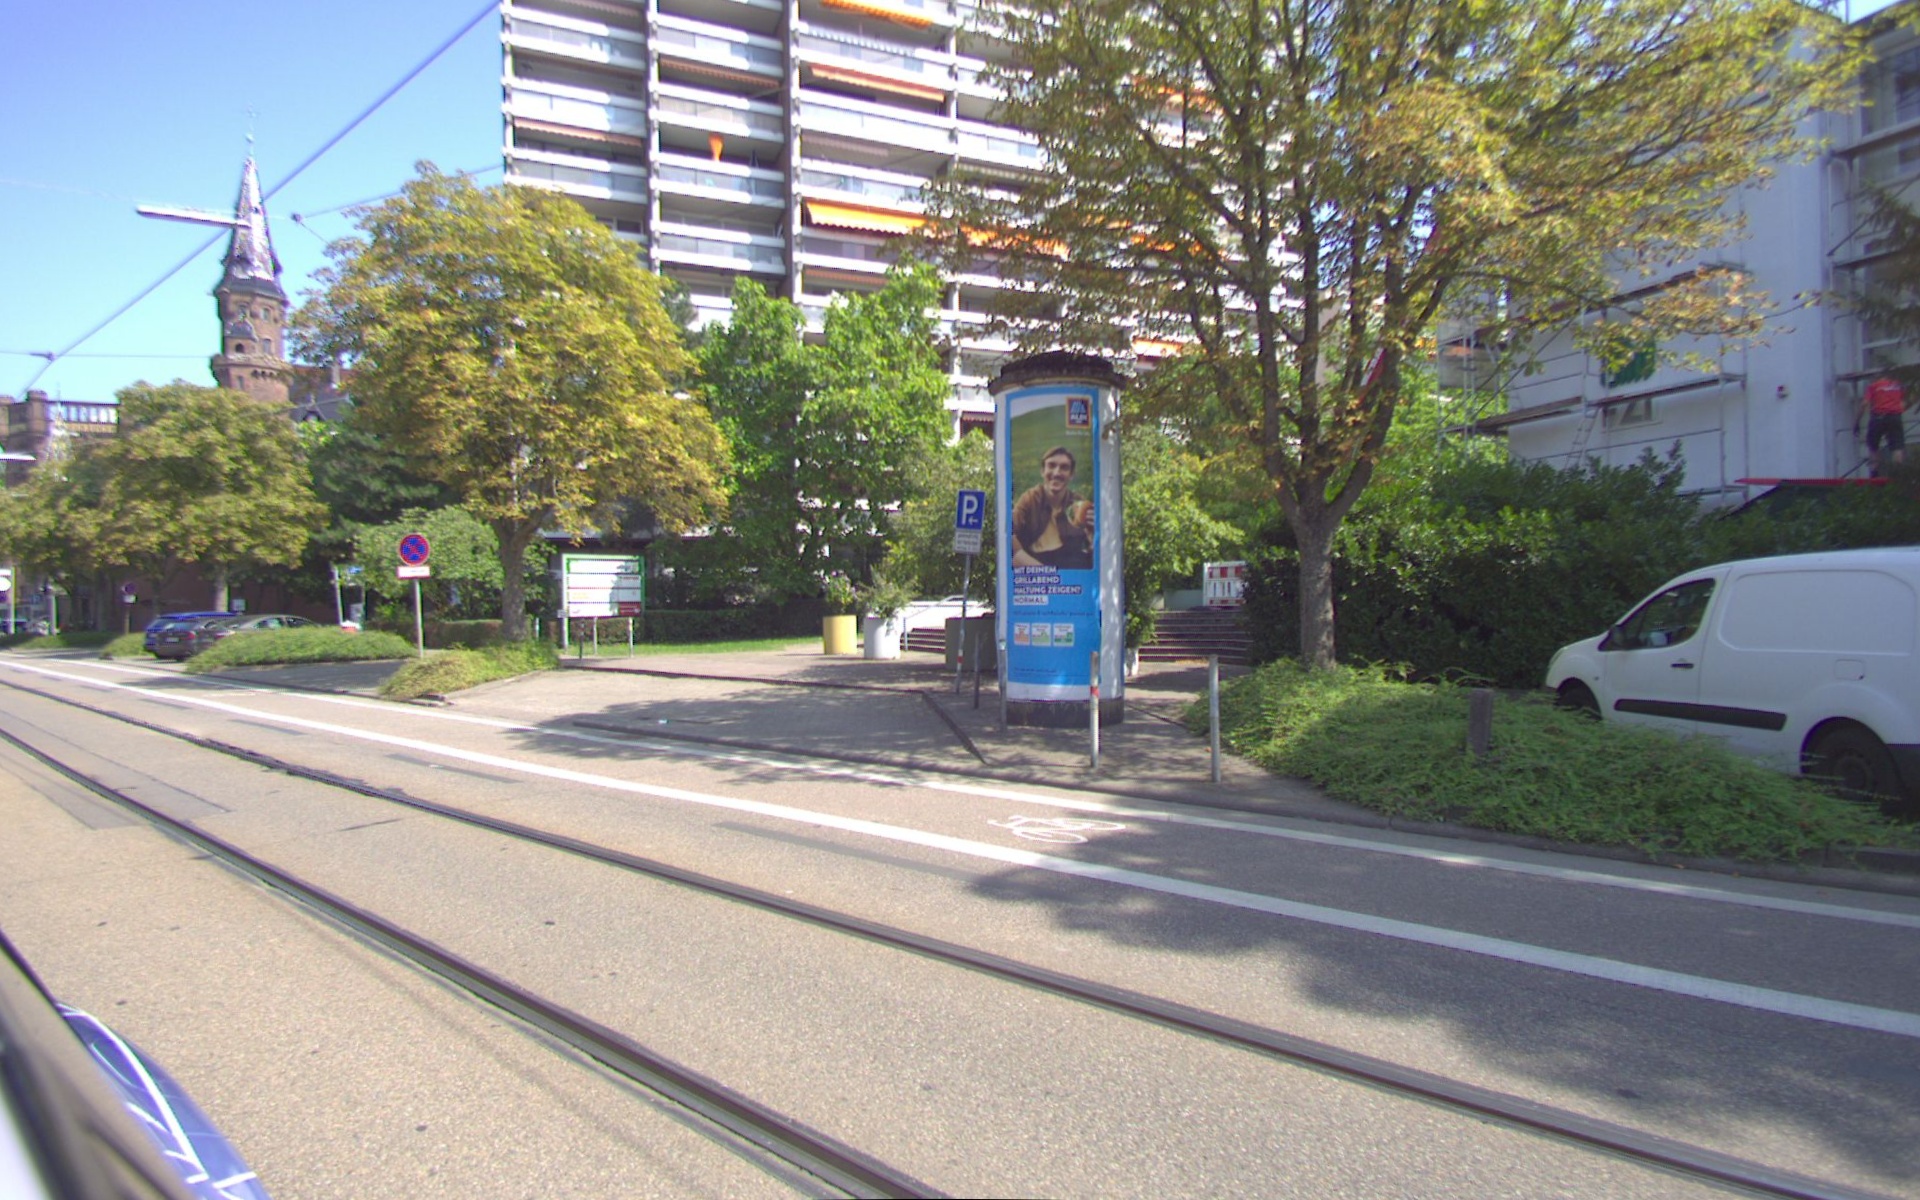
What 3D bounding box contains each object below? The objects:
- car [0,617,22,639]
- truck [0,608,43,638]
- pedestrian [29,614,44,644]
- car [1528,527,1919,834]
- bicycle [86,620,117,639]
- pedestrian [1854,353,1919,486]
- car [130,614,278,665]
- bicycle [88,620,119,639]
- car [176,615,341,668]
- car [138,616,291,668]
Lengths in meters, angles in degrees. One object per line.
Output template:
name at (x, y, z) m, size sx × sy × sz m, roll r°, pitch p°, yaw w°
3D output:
car at (-85.841, 2.576, 89.194) m, size 2.000 × 1.810 × 4.351 m, roll -2°, pitch 3°, yaw 43°
truck at (-89.643, 2.277, 93.916) m, size 2.316 × 2.543 × 6.429 m, roll -2°, pitch 3°, yaw 41°
pedestrian at (-62.335, 1.936, 68.305) m, size 0.497 × 1.995 × 0.520 m, roll -1°, pitch 0°, yaw -5°
car at (6.405, 0.476, 7.498) m, size 1.799 × 1.785 × 4.288 m, roll -1°, pitch -1°, yaw -2°
bicycle at (-56.328, 1.929, 66.410) m, size 0.376 × 1.069 × 1.434 m, roll -2°, pitch 4°, yaw 31°
pedestrian at (13.511, -2.570, 14.505) m, size 0.739 × 1.739 × 0.853 m, roll -1°, pitch 0°, yaw -33°
car at (-27.217, 1.379, 36.582) m, size 1.826 × 1.660 × 3.977 m, roll -1°, pitch 0°, yaw 18°
bicycle at (-56.058, 1.922, 66.237) m, size 0.376 × 1.069 × 1.434 m, roll -2°, pitch 4°, yaw 31°
car at (-22.409, 1.296, 32.535) m, size 1.764 × 1.508 × 4.276 m, roll -1°, pitch 0°, yaw 14°
car at (-25.083, 1.382, 34.225) m, size 1.763 × 1.582 × 3.982 m, roll -1°, pitch 0°, yaw 14°
